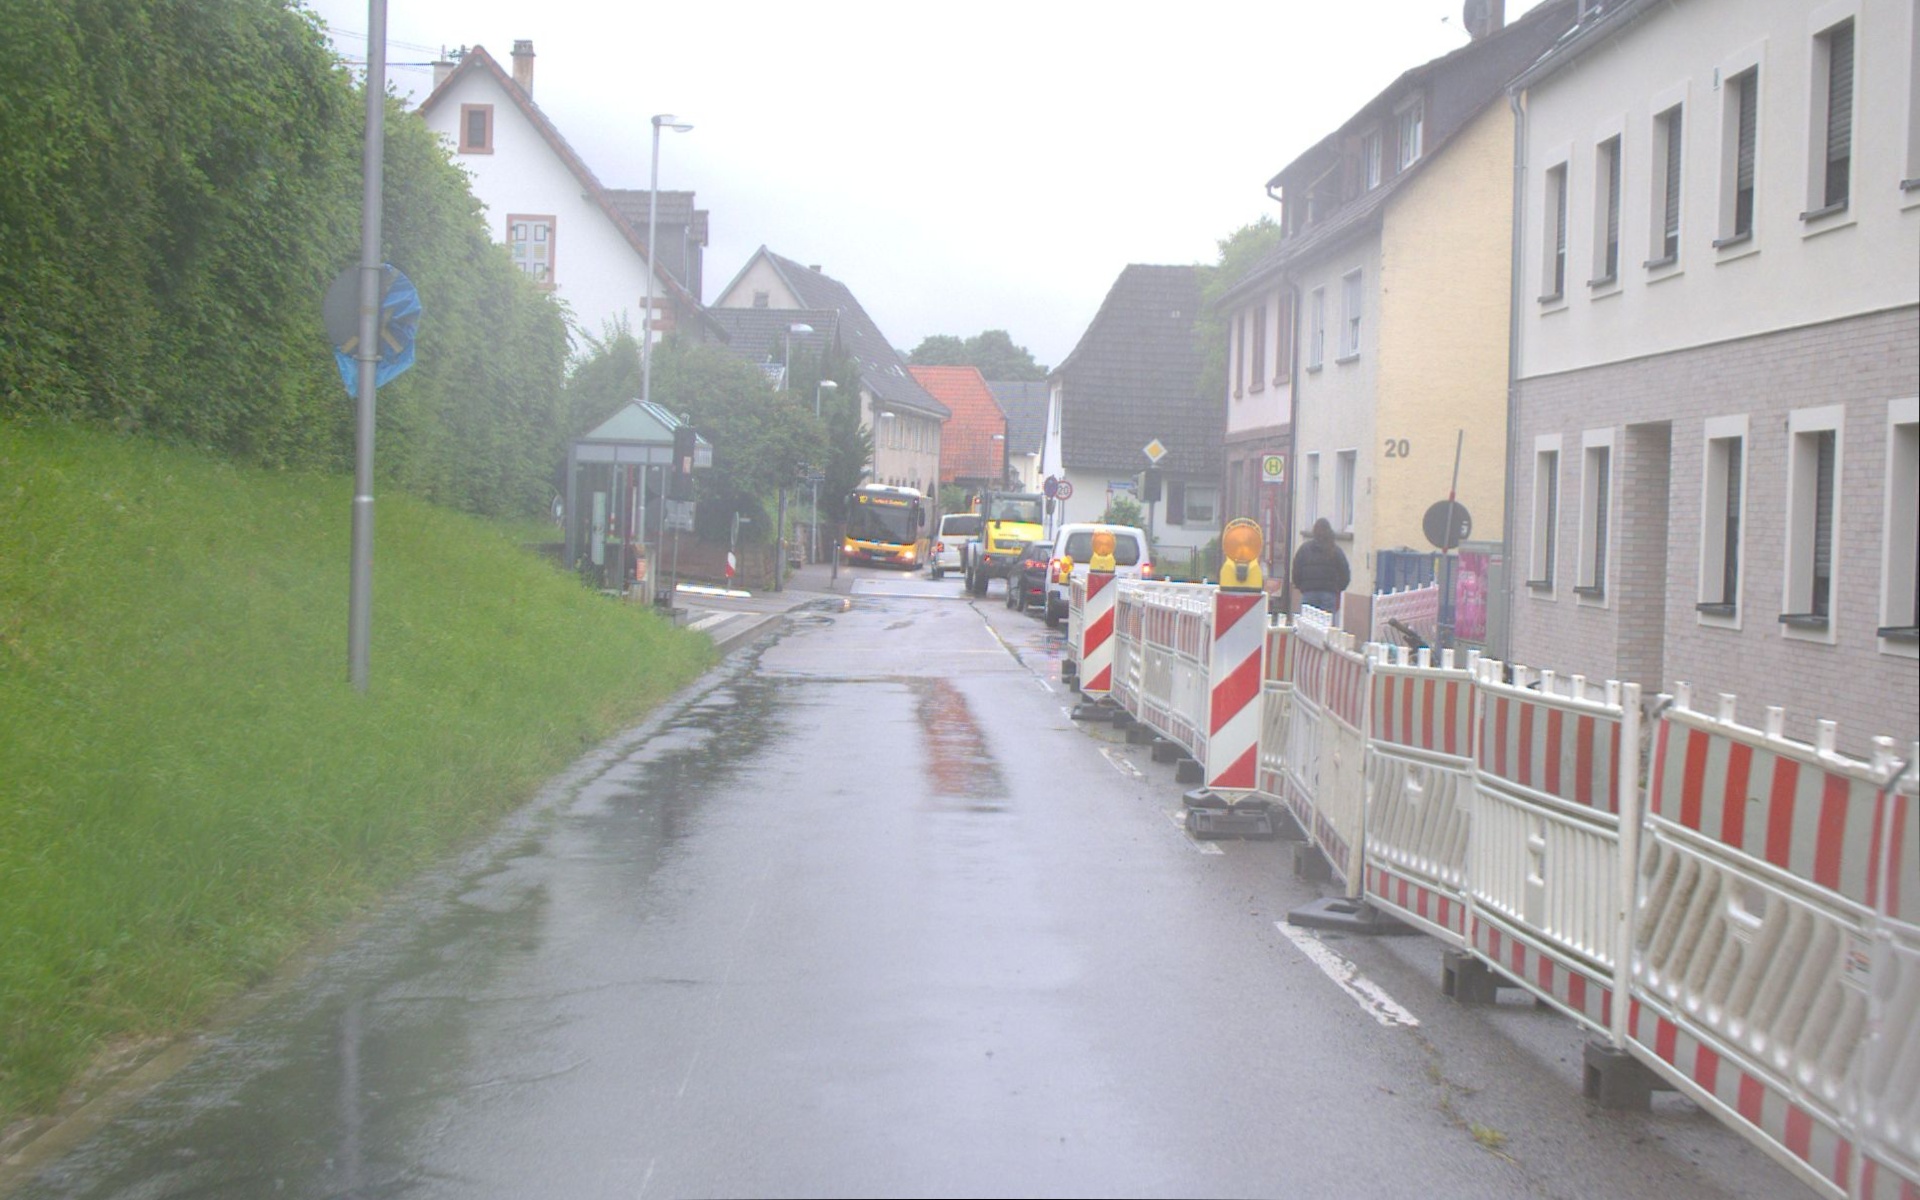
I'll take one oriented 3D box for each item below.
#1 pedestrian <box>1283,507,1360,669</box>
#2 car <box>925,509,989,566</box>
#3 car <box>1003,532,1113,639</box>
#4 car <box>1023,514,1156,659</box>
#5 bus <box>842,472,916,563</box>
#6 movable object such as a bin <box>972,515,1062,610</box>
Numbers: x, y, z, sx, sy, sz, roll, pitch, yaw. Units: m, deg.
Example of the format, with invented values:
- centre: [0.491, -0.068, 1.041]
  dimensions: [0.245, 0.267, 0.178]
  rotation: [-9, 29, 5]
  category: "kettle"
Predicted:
- centre: [4.008, -0.138, 38.166]
  dimensions: [0.665, 1.749, 0.812]
  rotation: [3, 1, 0]
  category: "pedestrian"
- centre: [-0.103, -1.901, 105.127]
  dimensions: [1.818, 1.636, 4.096]
  rotation: [3, 1, -1]
  category: "car"
- centre: [1.963, -0.313, 69.973]
  dimensions: [1.993, 2.007, 4.000]
  rotation: [3, 1, 0]
  category: "car"
- centre: [2.236, -0.256, 60.344]
  dimensions: [1.993, 2.367, 4.096]
  rotation: [3, 1, -1]
  category: "car"
- centre: [-2.906, -2.931, 124.504]
  dimensions: [2.241, 3.092, 7.030]
  rotation: [3, 1, 1]
  category: "bus"
- centre: [1.367, -0.916, 83.651]
  dimensions: [1.993, 2.165, 4.000]
  rotation: [3, 1, 0]
  category: "movable object such as a bin"
